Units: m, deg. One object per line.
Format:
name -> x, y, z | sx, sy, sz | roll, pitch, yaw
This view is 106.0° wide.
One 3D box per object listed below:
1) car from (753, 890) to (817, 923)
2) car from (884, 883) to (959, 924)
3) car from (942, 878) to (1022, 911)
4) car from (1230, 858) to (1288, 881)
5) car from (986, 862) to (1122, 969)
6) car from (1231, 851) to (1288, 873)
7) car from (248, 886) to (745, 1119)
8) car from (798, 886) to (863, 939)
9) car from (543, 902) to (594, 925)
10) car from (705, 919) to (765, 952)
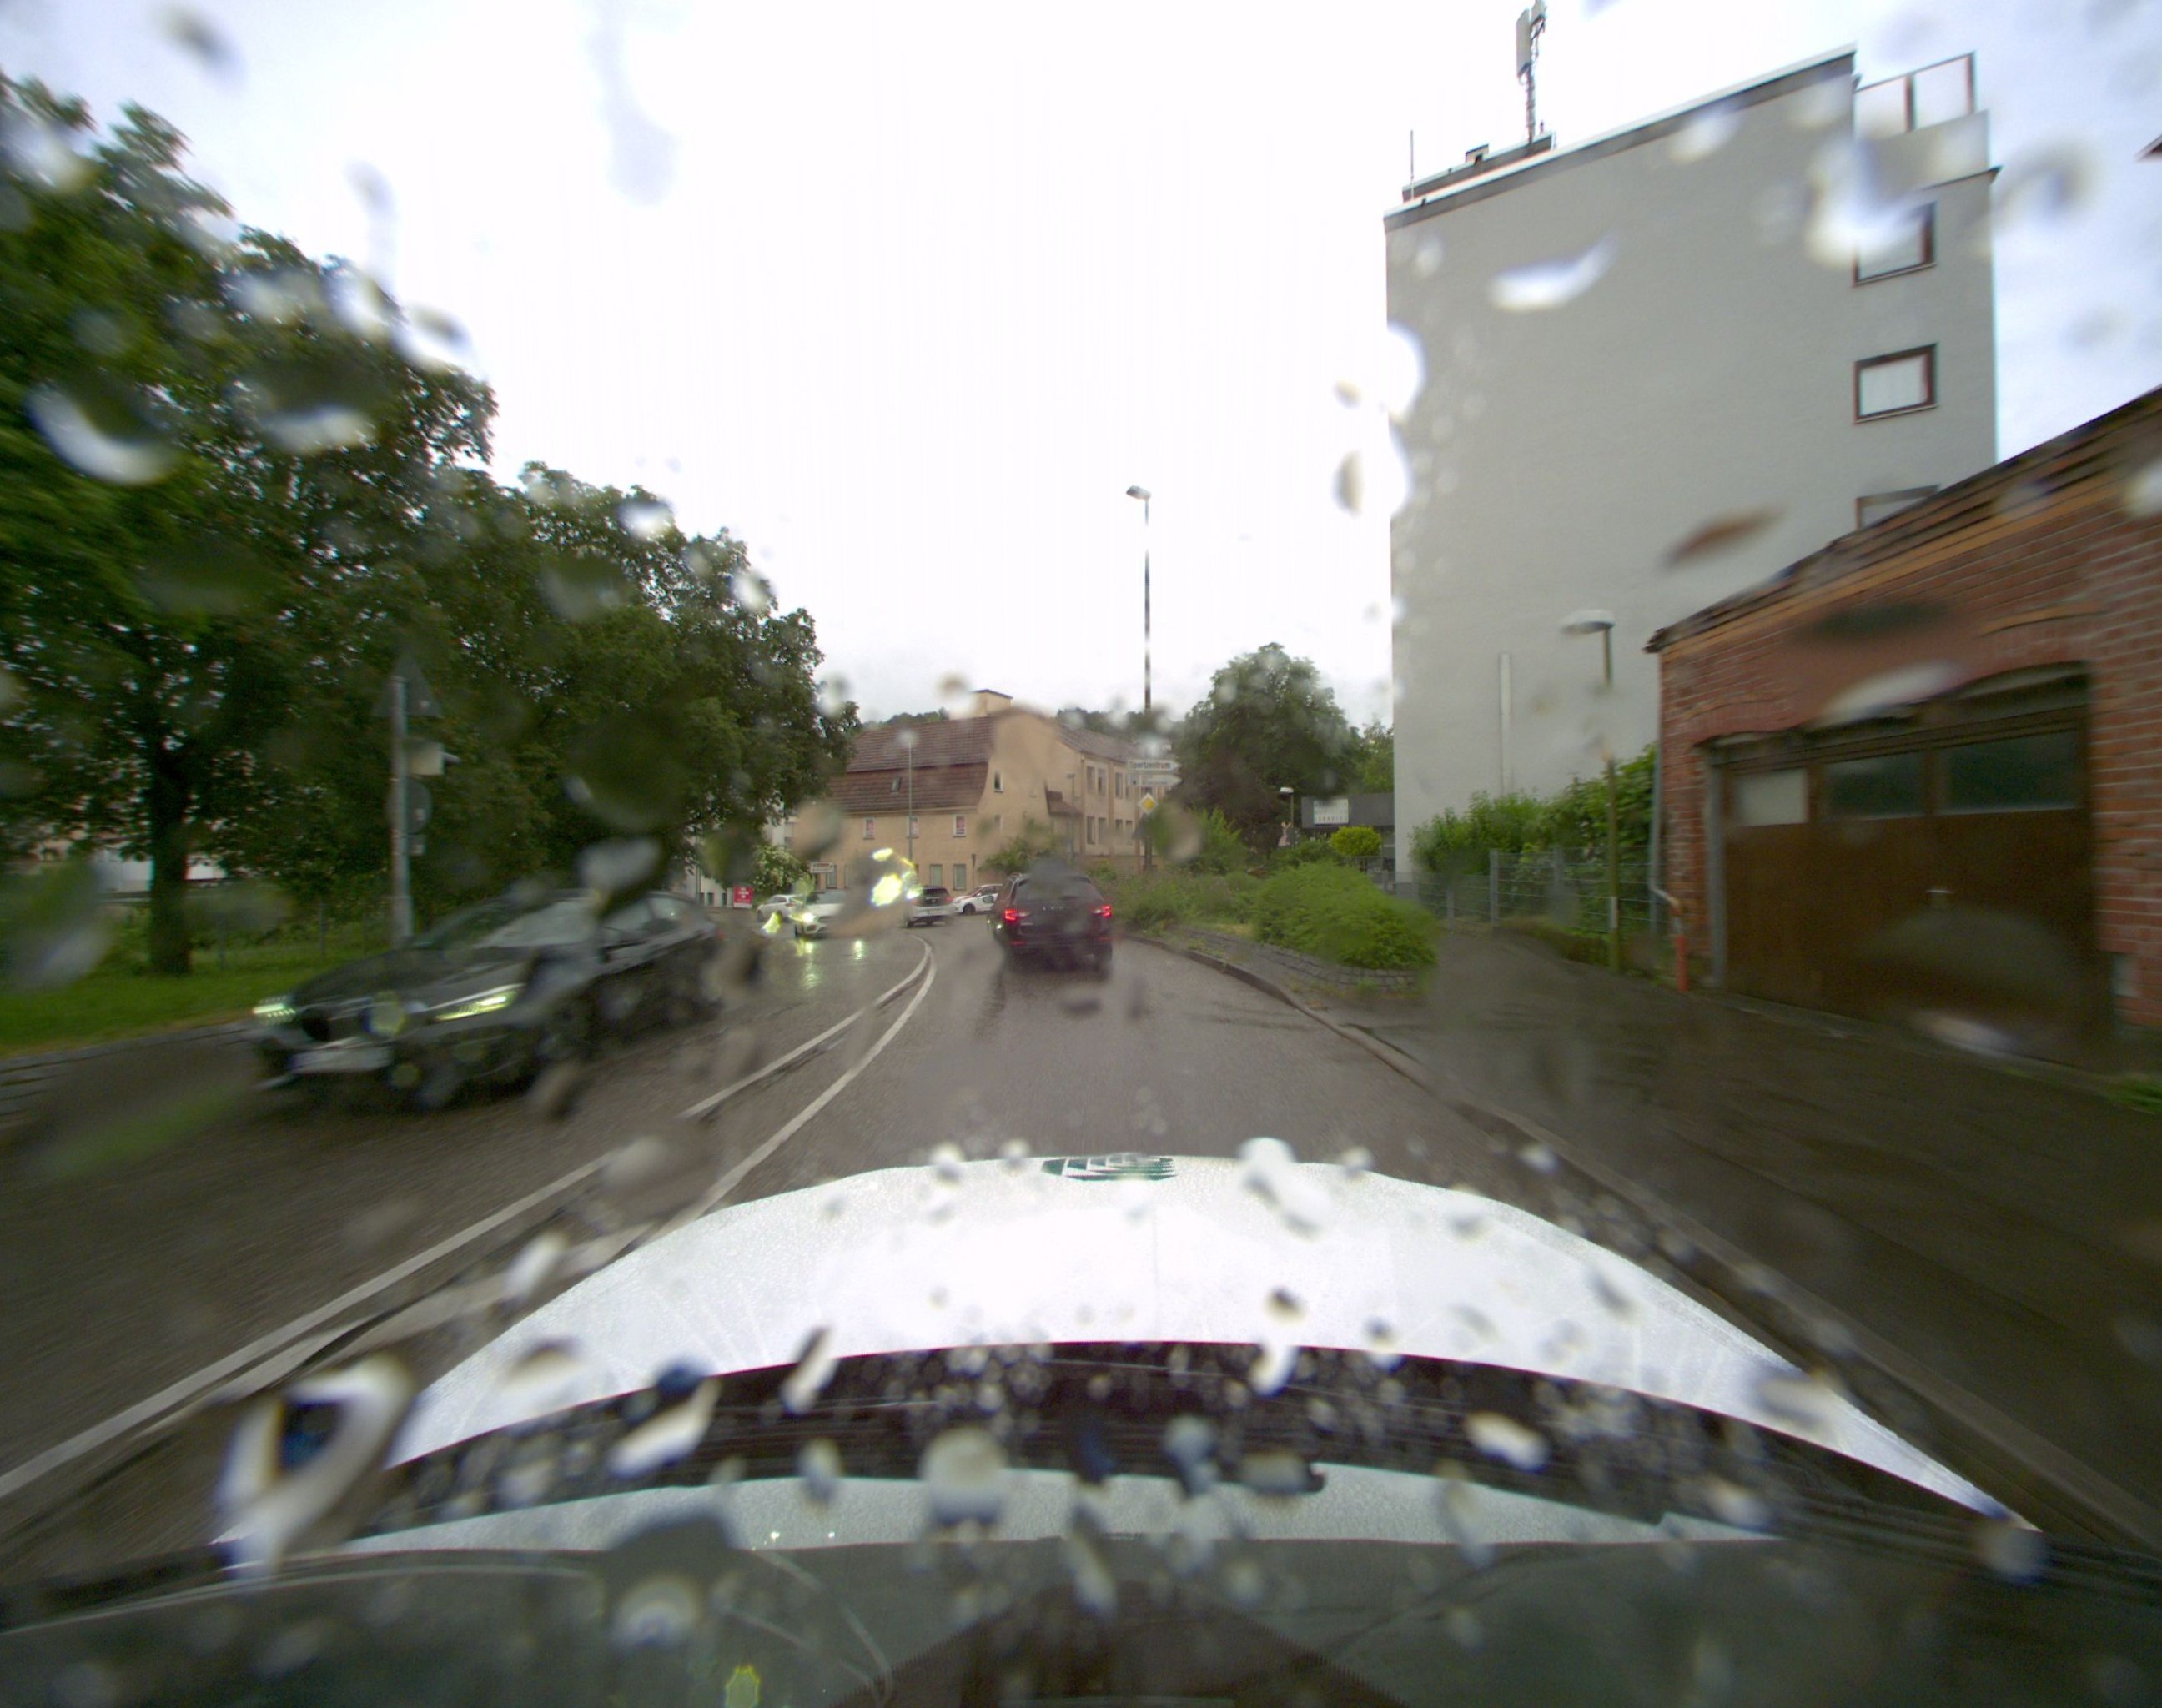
car -> -16.181, 2.873, 44.403 | 1.743, 1.591, 4.132 | 1, -5, -43
car -> -6.125, 1.831, 30.951 | 1.827, 1.360, 3.955 | 0, -1, -26
car -> -5.166, 2.116, 42.571 | 3.770, 1.453, 1.698 | -3, -1, -25
car -> 13.350, 1.155, 61.145 | 3.855, 1.573, 1.729 | -3, -1, 27
car -> -0.628, 0.965, 13.862 | 1.781, 1.483, 4.232 | -1, -2, -9
car -> 14.427, 0.646, 65.966 | 4.374, 1.573, 1.725 | -3, -1, 13
car -> -4.681, 1.048, 7.407 | 1.731, 1.411, 4.049 | -1, -1, -3
car -> -8.181, 1.820, 26.340 | 1.730, 1.505, 4.228 | -1, -2, -21
car -> -38.388, 4.432, 60.965 | 3.640, 1.590, 1.911 | -2, 0, 34
car -> -17.990, 4.219, 42.235 | 1.742, 1.543, 4.249 | 1, -5, -39
